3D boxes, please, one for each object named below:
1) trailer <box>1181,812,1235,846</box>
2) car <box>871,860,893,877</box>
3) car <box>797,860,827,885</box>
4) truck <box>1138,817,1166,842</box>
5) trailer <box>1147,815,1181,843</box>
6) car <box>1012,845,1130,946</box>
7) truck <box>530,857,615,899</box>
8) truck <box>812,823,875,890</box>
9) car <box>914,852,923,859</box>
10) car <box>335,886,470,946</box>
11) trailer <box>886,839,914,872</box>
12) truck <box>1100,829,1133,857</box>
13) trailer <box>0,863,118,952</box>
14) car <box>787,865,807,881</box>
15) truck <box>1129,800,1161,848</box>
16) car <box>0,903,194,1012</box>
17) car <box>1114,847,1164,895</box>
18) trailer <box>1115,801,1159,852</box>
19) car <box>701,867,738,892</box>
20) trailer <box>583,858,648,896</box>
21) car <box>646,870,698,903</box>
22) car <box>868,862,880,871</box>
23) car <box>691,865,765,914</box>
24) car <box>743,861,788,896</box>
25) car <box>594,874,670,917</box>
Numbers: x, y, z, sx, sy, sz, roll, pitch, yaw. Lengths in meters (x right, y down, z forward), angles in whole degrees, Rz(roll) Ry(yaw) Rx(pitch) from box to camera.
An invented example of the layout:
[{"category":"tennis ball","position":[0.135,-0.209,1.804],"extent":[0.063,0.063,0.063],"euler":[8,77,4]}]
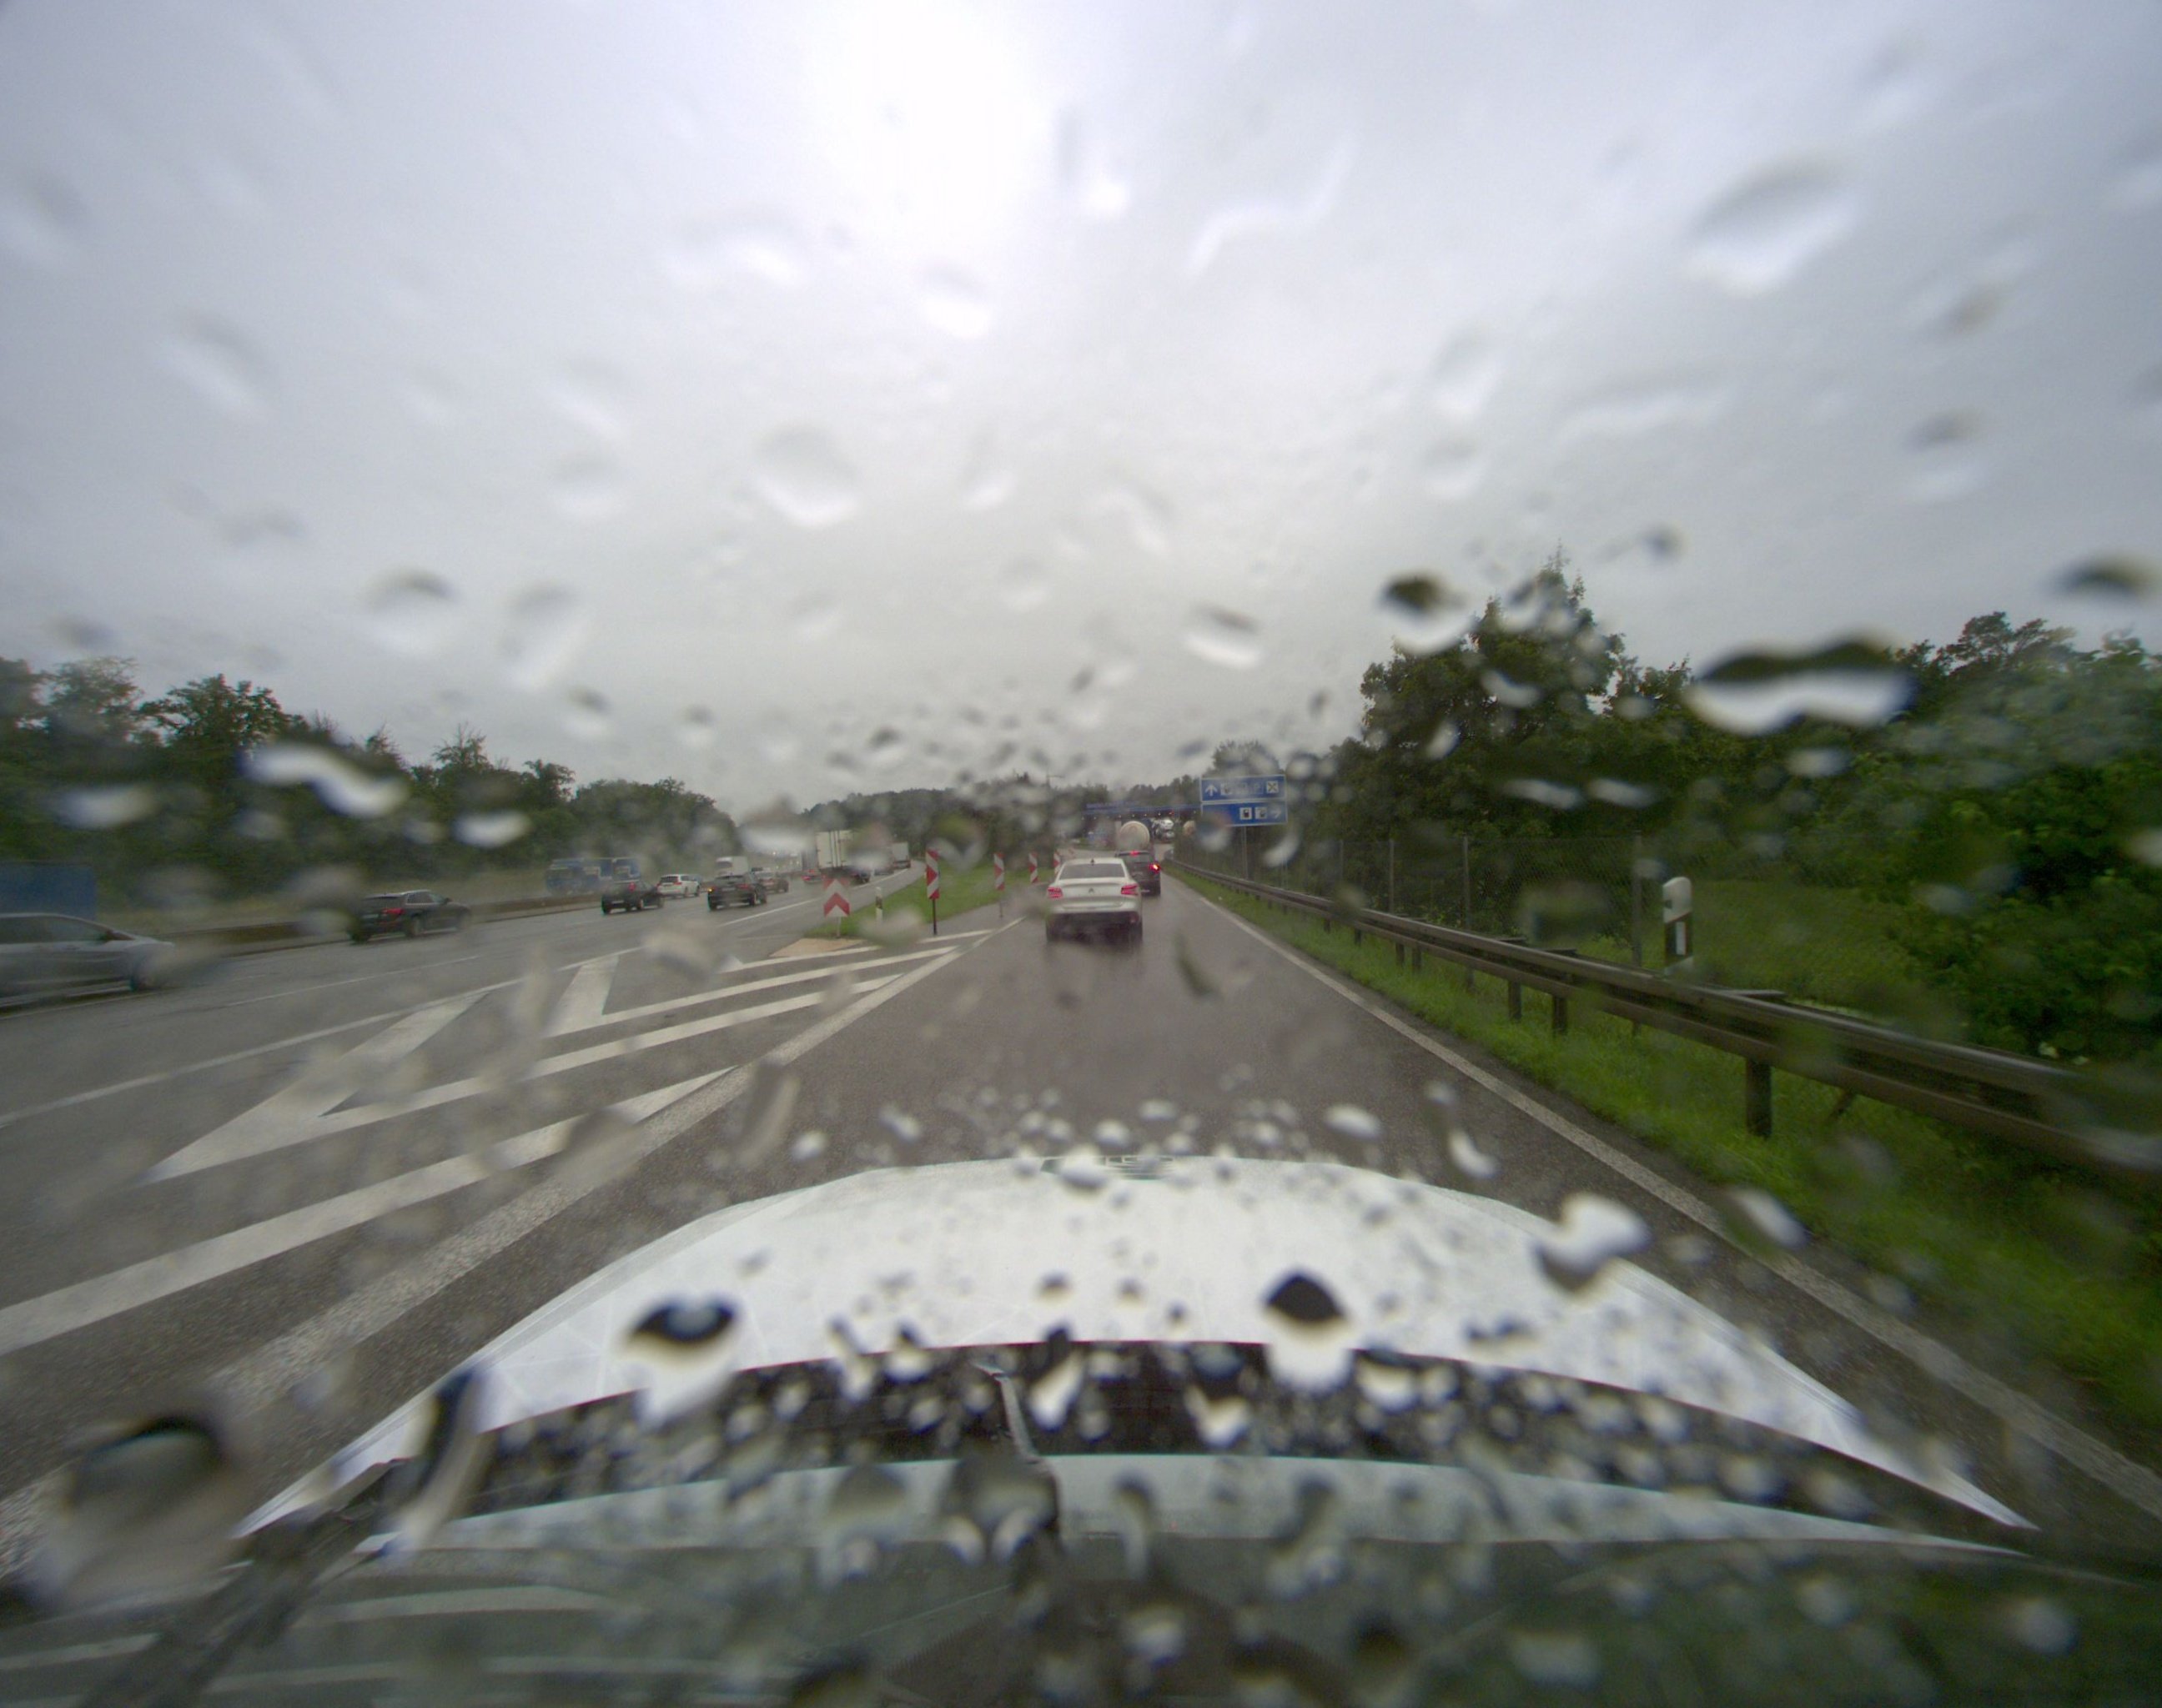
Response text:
[{"category":"trailer","position":[14.812,-2.952,94.312],"extent":[2.110,3.440,10.320],"euler":[-3,2,32]},{"category":"car","position":[-21.846,1.576,89.668],"extent":[1.994,1.816,3.986],"euler":[-2,0,-10]},{"category":"car","position":[-23.635,1.626,71.779],"extent":[1.996,2.013,3.982],"euler":[-4,0,-13]},{"category":"truck","position":[12.515,-4.358,143.634],"extent":[3.230,4.187,8.427],"euler":[-3,2,-6]},{"category":"trailer","position":[13.520,-4.062,133.678],"extent":[3.212,4.188,11.507],"euler":[-3,2,-6]},{"category":"car","position":[-0.118,0.693,15.758],"extent":[1.986,1.679,4.001],"euler":[-1,0,1]},{"category":"truck","position":[-50.851,2.353,81.891],"extent":[3.059,3.980,10.528],"euler":[1,-1,-8]},{"category":"truck","position":[-17.435,0.215,60.623],"extent":[2.850,4.292,11.802],"euler":[-5,0,-10]},{"category":"car","position":[-44.824,0.427,224.845],"extent":[1.998,2.014,3.978],"euler":[0,0,-16]},{"category":"car","position":[-24.191,2.145,29.246],"extent":[1.775,1.736,4.087],"euler":[-4,0,-9]},{"category":"trailer","position":[-28.085,0.265,126.997],"extent":[3.550,4.611,12.075],"euler":[-4,0,-10]},{"category":"truck","position":[5.156,-1.685,121.693],"extent":[2.369,3.873,12.421],"euler":[-4,2,-8]},{"category":"trailer","position":[-42.843,2.126,29.878],"extent":[2.731,3.417,11.365],"euler":[-3,0,-8]},{"category":"car","position":[-34.886,2.362,100.109],"extent":[1.699,1.786,3.770],"euler":[-4,0,-11]},{"category":"truck","position":[5.118,-2.361,64.530],"extent":[2.041,3.530,4.759],"euler":[-3,1,9]},{"category":"car","position":[-17.827,1.764,13.444],"extent":[1.786,1.526,4.325],"euler":[-4,0,-6]},{"category":"car","position":[2.151,0.594,30.653],"extent":[1.735,1.667,4.003],"euler":[-1,0,3]},{"category":"trailer","position":[4.143,-1.982,58.466],"extent":[1.968,3.224,10.350],"euler":[-3,2,9]},{"category":"car","position":[-33.268,2.306,75.041],"extent":[1.994,2.013,3.986],"euler":[-4,0,-10]},{"category":"trailer","position":[-52.233,2.518,91.672],"extent":[3.089,4.047,9.139],"euler":[1,-1,-8]},{"category":"car","position":[-28.363,2.199,56.601],"extent":[1.994,2.013,3.987],"euler":[-4,0,-10]},{"category":"car","position":[-39.365,2.393,154.880],"extent":[1.994,1.748,3.986],"euler":[0,0,-10]},{"category":"car","position":[-14.459,1.409,33.595],"extent":[1.775,1.736,3.835],"euler":[-4,0,-9]},{"category":"car","position":[-19.724,1.482,51.107],"extent":[1.789,1.971,4.319],"euler":[-3,0,-11]},{"category":"car","position":[-21.357,1.935,38.937],"extent":[1.775,1.736,4.087],"euler":[-4,0,-9]}]
